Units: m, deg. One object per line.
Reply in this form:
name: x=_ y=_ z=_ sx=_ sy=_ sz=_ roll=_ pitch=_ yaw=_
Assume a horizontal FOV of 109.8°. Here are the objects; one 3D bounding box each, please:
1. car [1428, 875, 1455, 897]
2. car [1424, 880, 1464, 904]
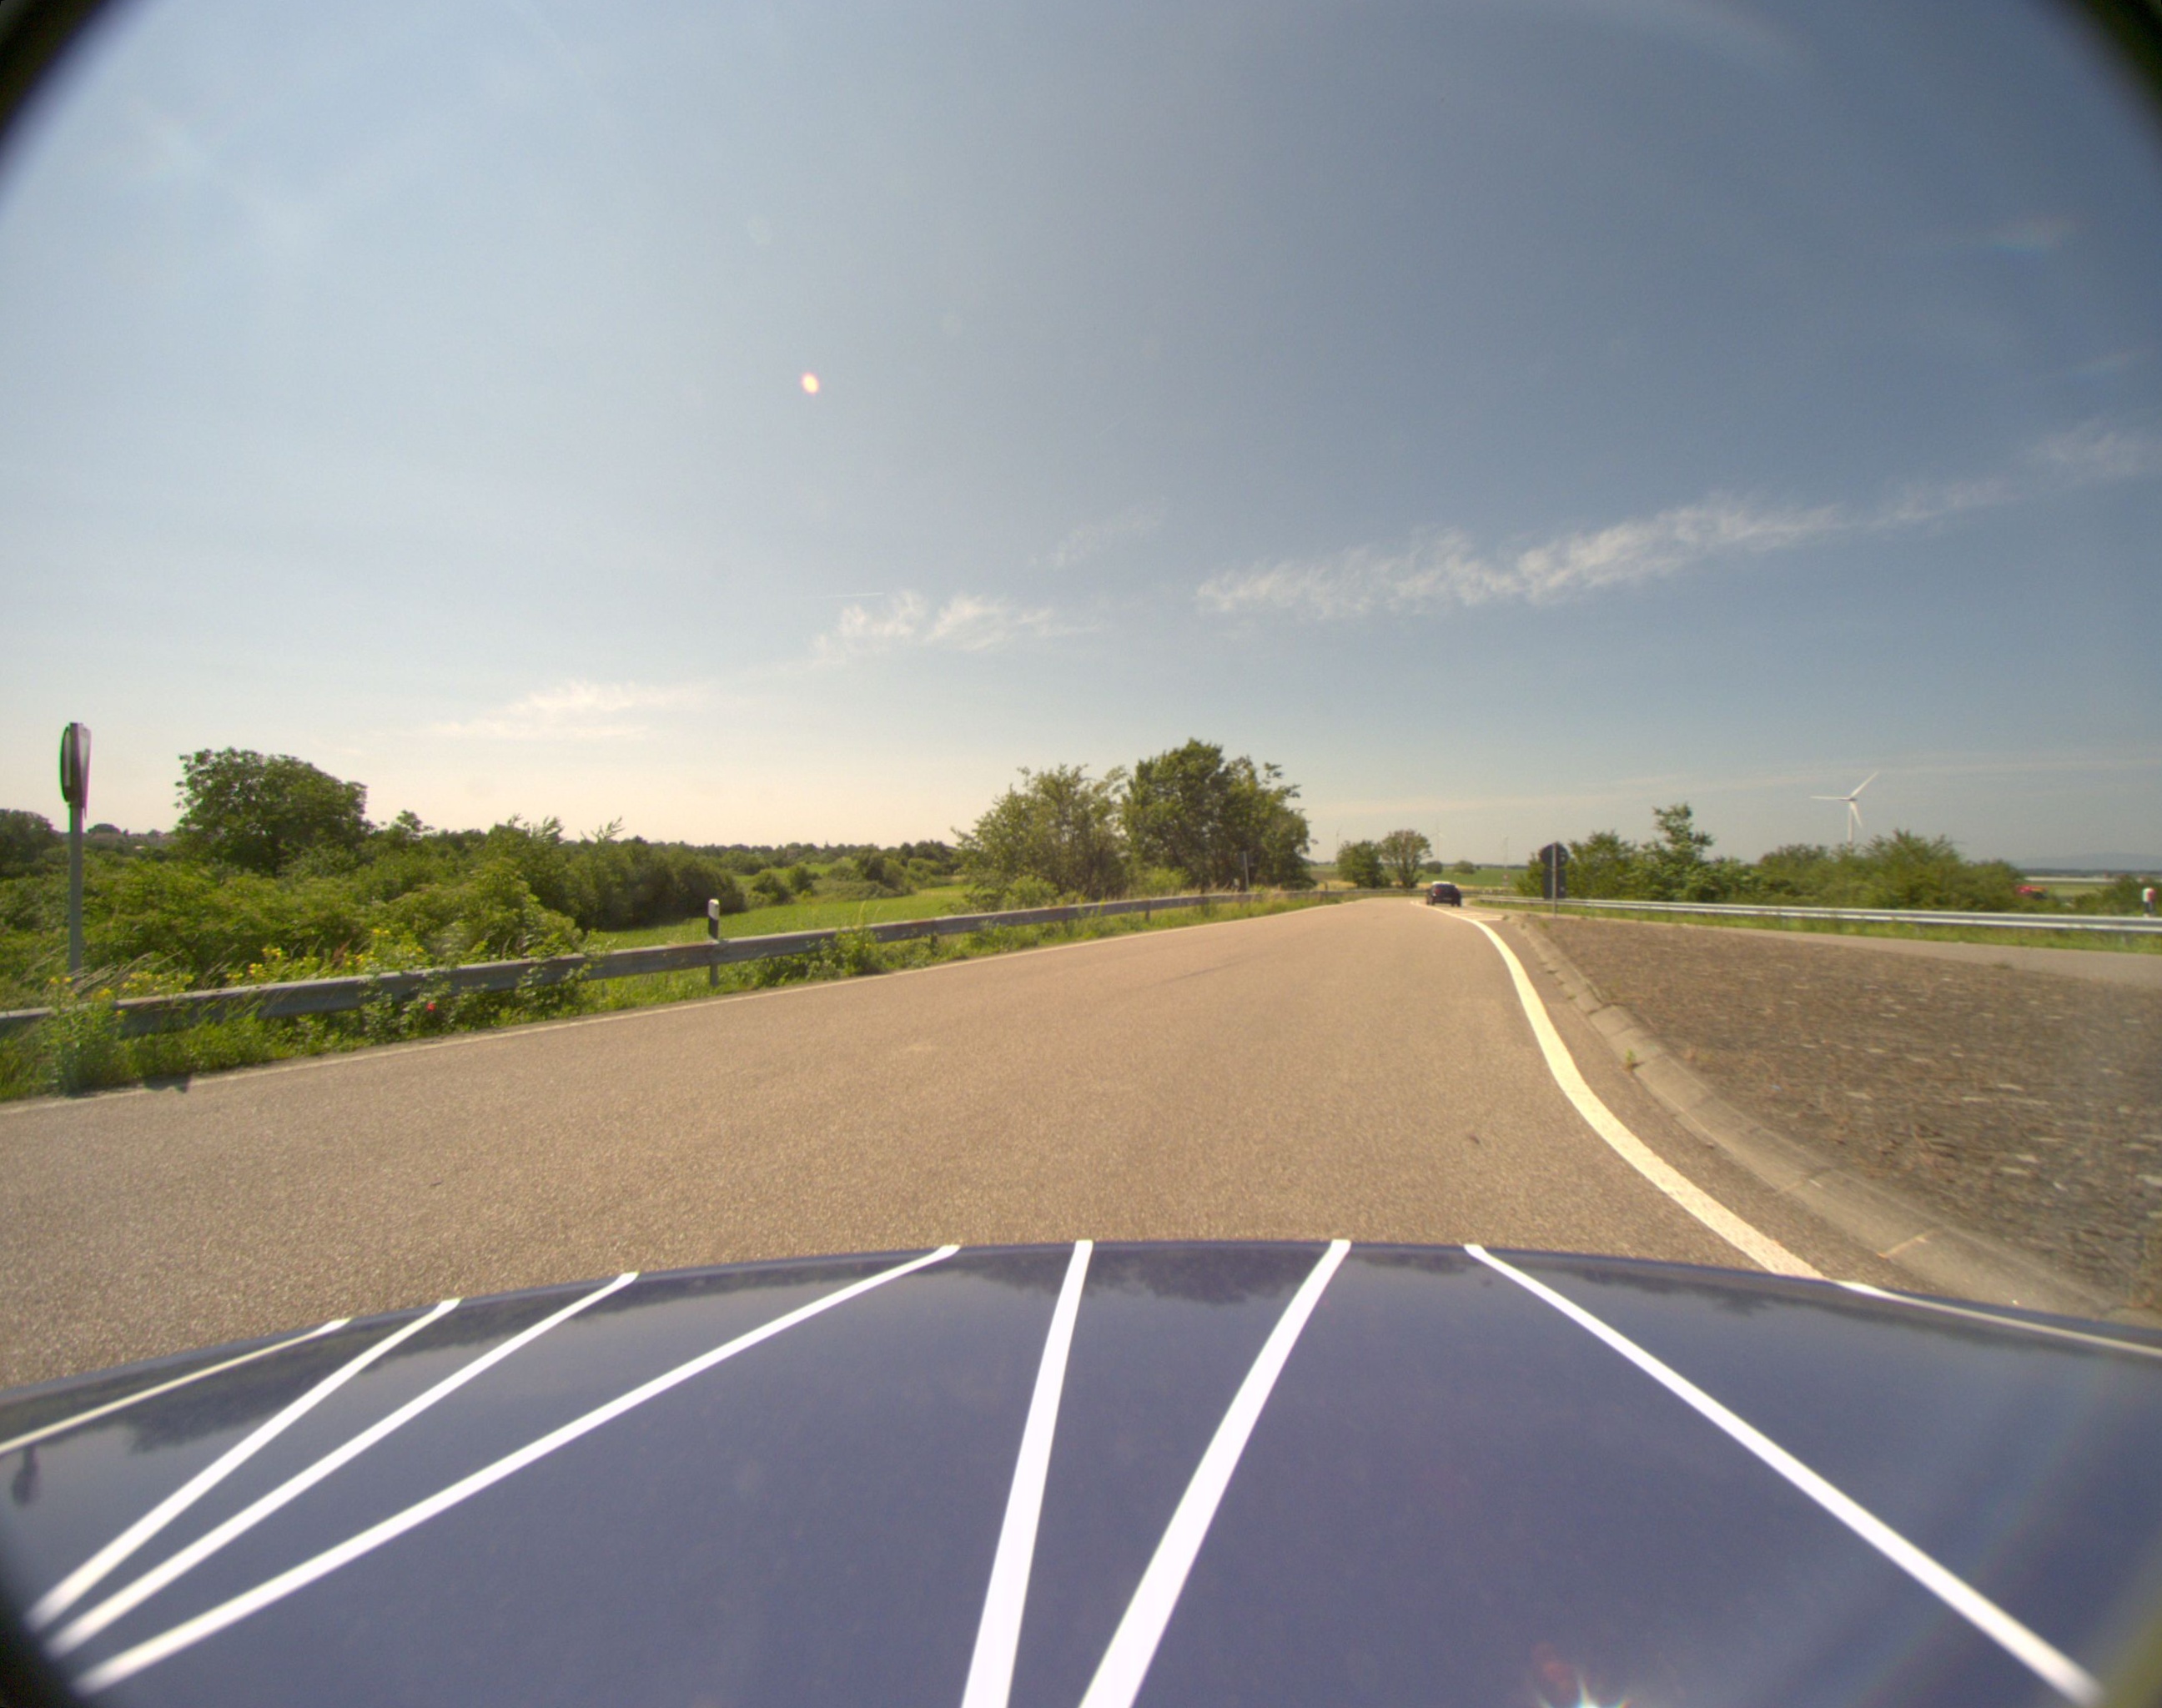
car: x=29.404 y=2.630 z=62.055 sx=1.738 sy=1.750 sz=4.091 roll=1 pitch=-2 yaw=22
car: x=23.290 y=2.448 z=48.853 sx=1.710 sy=1.387 sz=3.894 roll=2 pitch=-2 yaw=17
